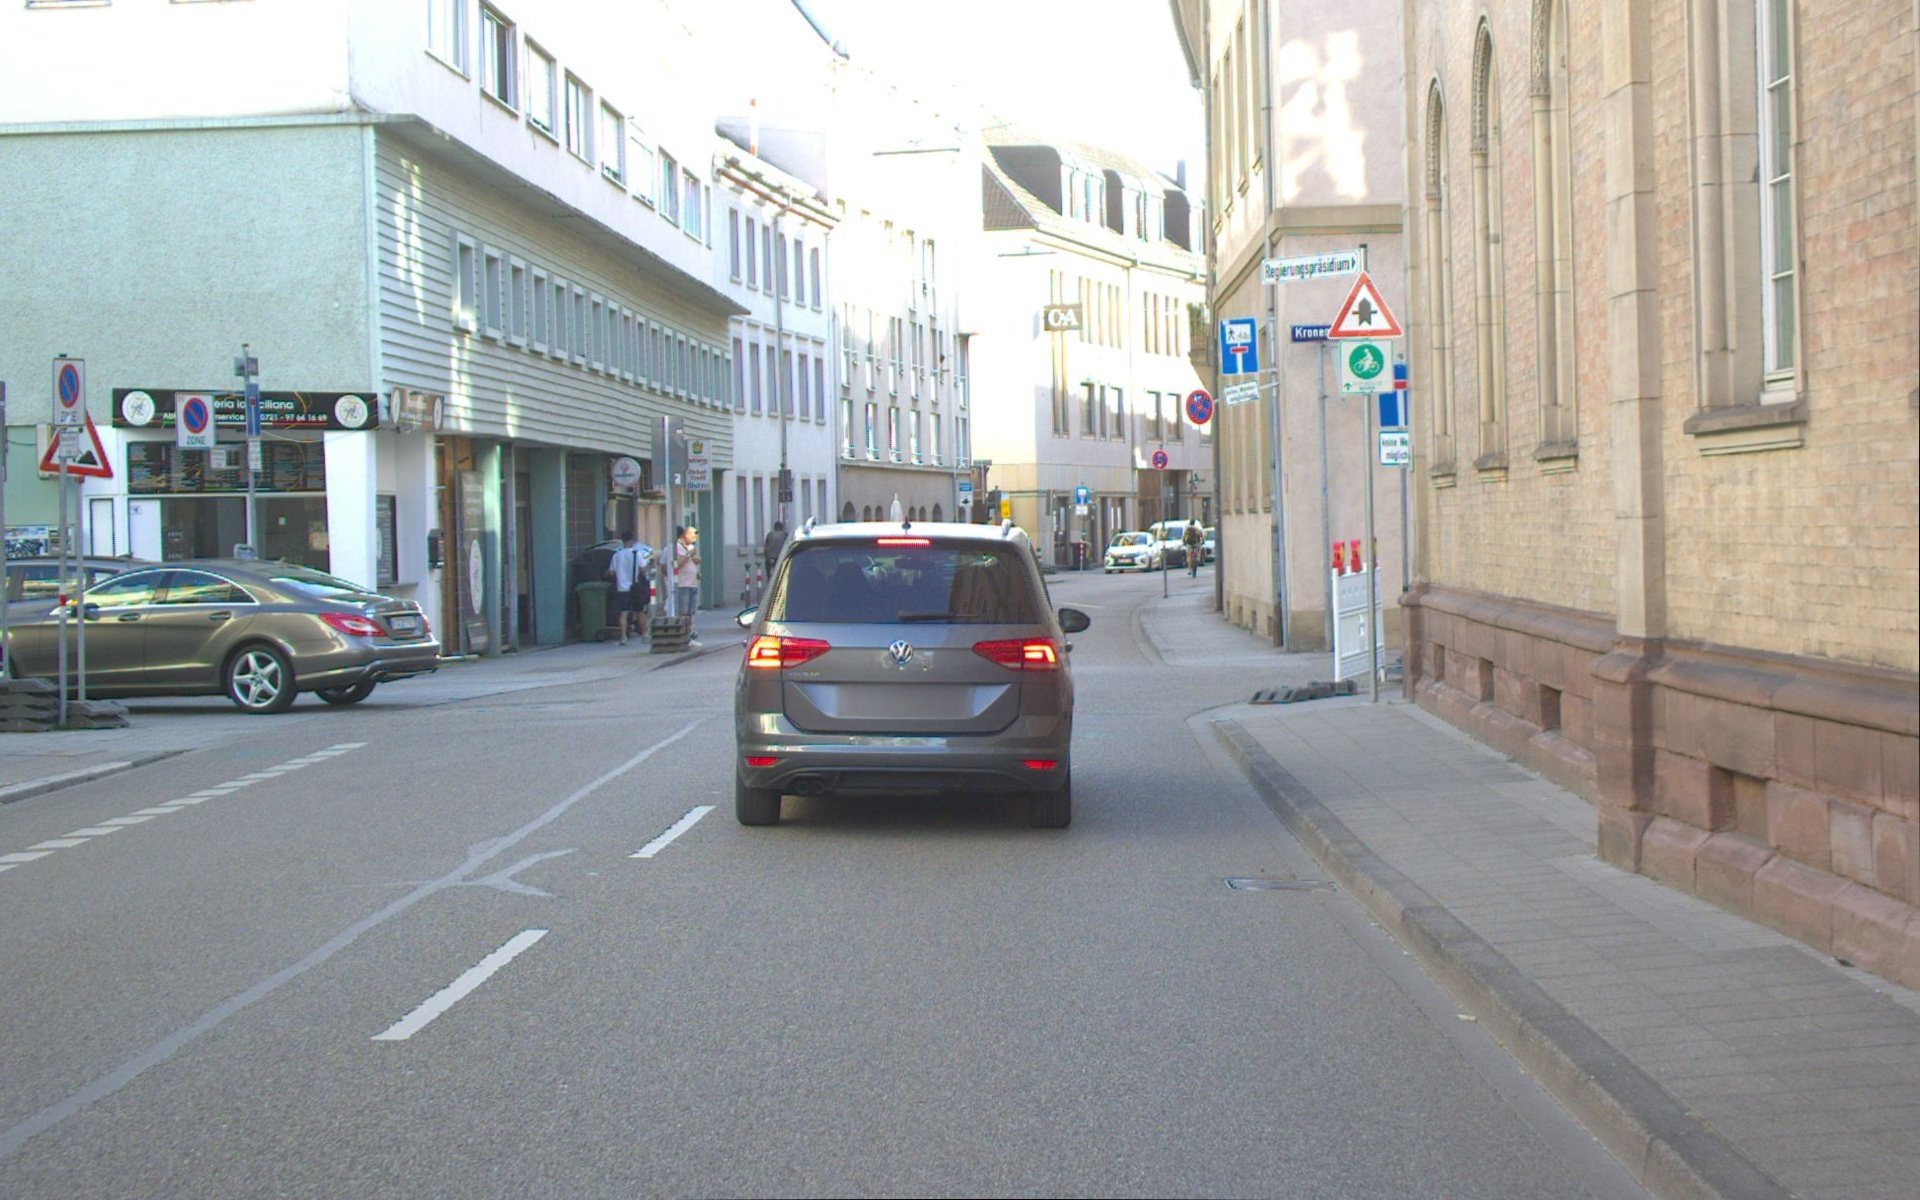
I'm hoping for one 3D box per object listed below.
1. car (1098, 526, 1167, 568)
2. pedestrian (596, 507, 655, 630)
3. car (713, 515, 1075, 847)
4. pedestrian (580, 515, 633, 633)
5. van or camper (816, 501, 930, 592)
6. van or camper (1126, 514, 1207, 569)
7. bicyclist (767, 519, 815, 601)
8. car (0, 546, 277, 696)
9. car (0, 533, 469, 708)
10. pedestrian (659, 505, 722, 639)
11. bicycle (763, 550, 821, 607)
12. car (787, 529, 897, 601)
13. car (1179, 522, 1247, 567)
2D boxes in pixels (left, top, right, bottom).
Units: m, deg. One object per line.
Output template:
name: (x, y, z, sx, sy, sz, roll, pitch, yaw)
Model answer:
car: (6.344, -1.954, 126.143, 1.735, 1.463, 3.997, -1, 1, 15)
pedestrian: (-5.026, -0.476, 51.743, 0.556, 1.823, 0.730, -1, 1, 24)
car: (-0.293, 0.362, 19.117, 1.762, 1.601, 4.000, 2, 1, 1)
pedestrian: (-5.537, -0.408, 53.857, 0.728, 1.823, 0.557, -1, 1, 1)
van or camper: (-1.986, -1.259, 79.877, 1.994, 2.007, 4.482, -1, 1, 7)
van or camper: (7.949, -2.262, 131.839, 1.995, 2.007, 4.995, -1, 2, 17)
bicyclist: (-3.255, -0.774, 66.356, 0.831, 1.556, 0.759, -1, 1, 4)
car: (-9.492, 0.229, 36.255, 4.098, 1.438, 1.948, -2, 2, 3)
car: (-7.198, 0.191, 32.508, 4.617, 1.536, 1.999, -1, 1, 16)
pedestrian: (-3.736, -0.392, 47.662, 0.556, 1.823, 0.730, -1, 1, 24)
bicycle: (-3.252, -0.430, 66.636, 0.831, 1.050, 2.549, -1, 1, 3)
car: (-2.511, -0.771, 74.160, 1.866, 1.463, 3.833, -1, 1, 6)
car: (10.173, -2.254, 138.084, 1.827, 1.720, 3.997, -1, 1, 18)
